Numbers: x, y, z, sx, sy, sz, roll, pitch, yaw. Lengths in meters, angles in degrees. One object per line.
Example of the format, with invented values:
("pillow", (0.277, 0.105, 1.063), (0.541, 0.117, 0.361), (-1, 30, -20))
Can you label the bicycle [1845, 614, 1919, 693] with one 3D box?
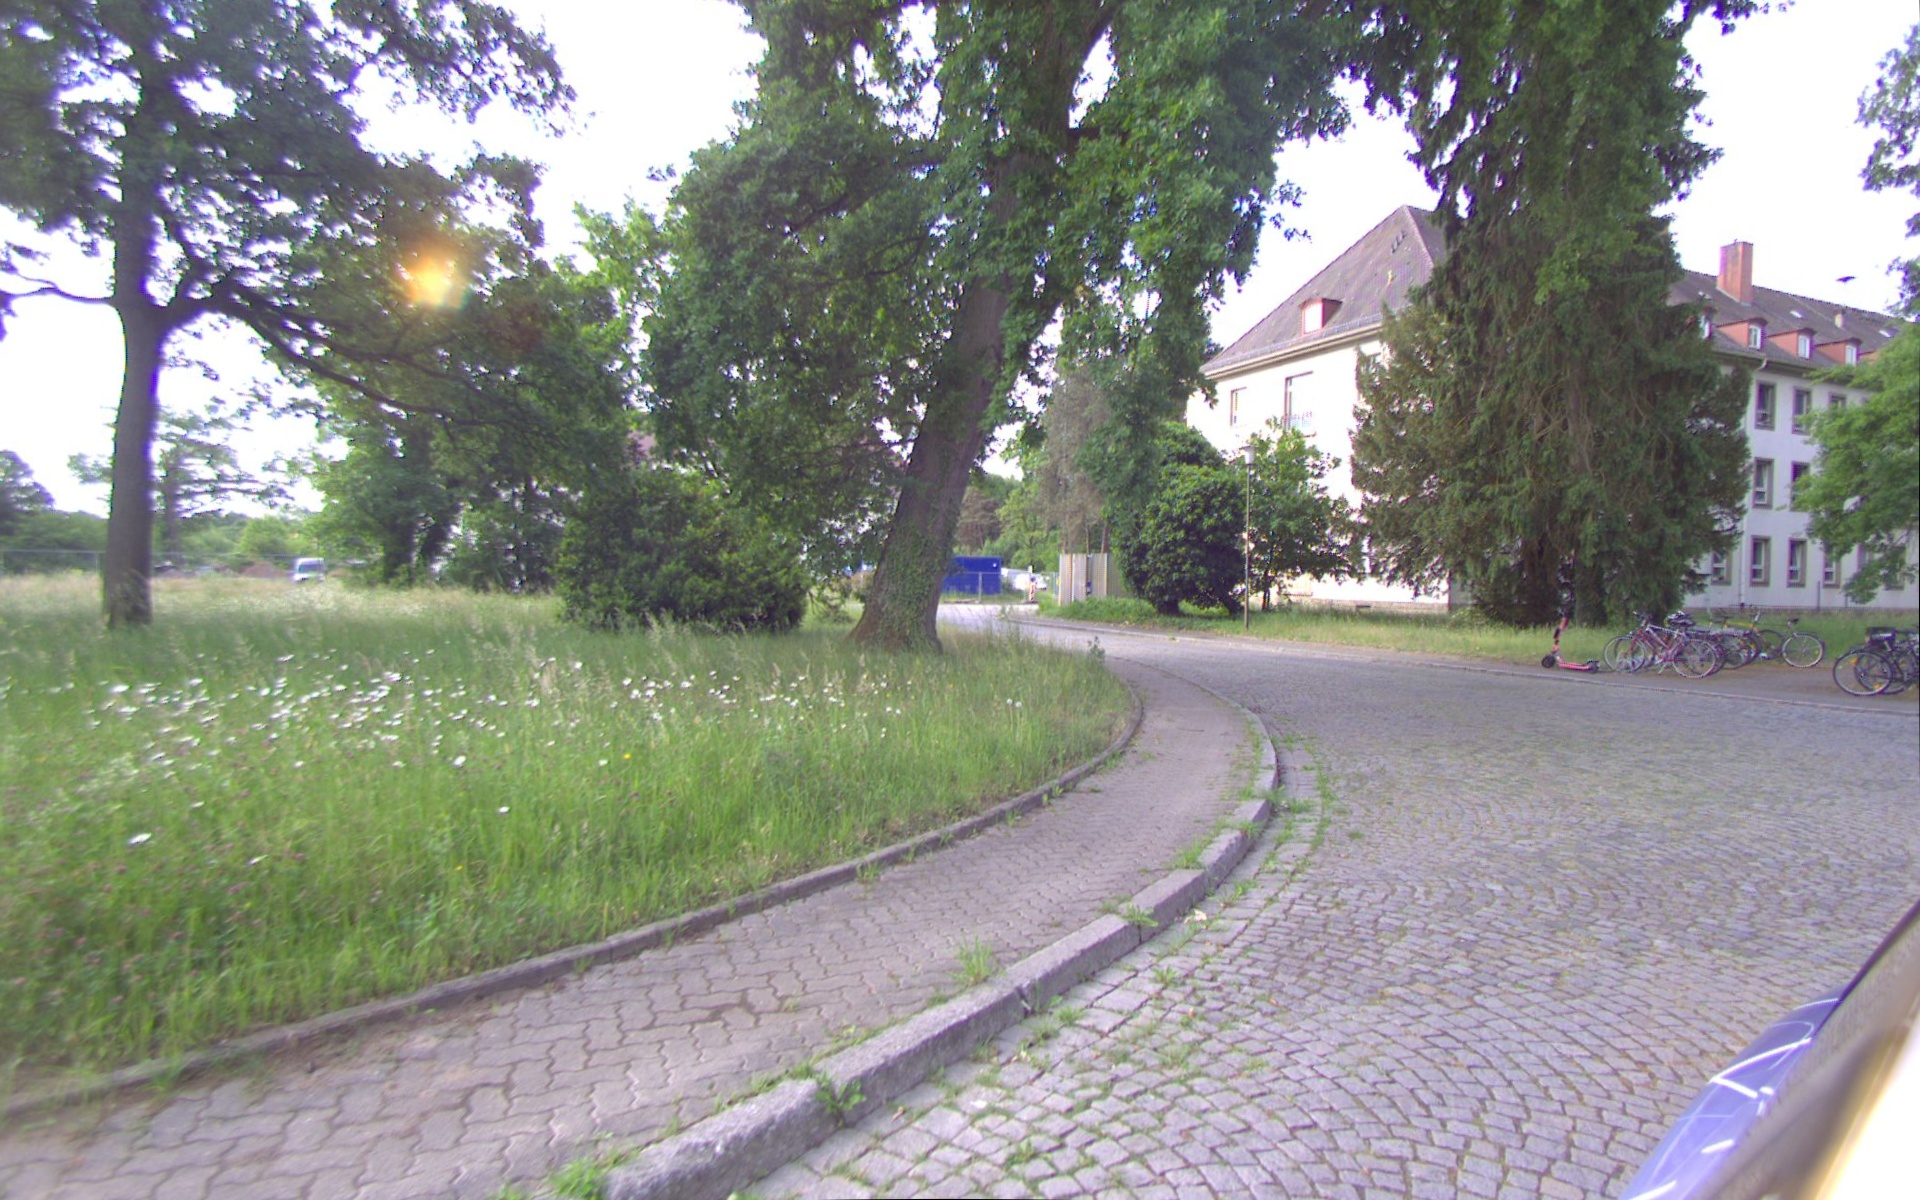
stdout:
("bicycle", (14.375, 0.808, 14.873), (0.471, 1.101, 2.013), (-3, 4, -44))

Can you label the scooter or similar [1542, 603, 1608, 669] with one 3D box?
("scooter or similar", (11.854, 0.677, 19.534), (0.377, 1.209, 1.066), (1, 1, -20))

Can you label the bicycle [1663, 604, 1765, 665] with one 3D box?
("bicycle", (14.812, 0.654, 19.920), (1.557, 1.101, 0.555), (2, 2, 37))

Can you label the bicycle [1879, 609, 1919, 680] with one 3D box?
("bicycle", (16.125, 0.750, 16.233), (0.471, 1.101, 2.013), (-3, 4, -44))

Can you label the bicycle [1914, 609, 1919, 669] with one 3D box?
("bicycle", (18.719, 0.761, 18.514), (0.544, 1.101, 1.803), (-3, 4, -44))

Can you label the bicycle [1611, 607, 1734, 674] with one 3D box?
("bicycle", (13.079, 0.718, 18.612), (1.805, 1.101, 0.472), (2, 4, 40))

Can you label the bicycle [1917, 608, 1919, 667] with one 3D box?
("bicycle", (19.259, 0.754, 19.061), (0.544, 1.101, 1.747), (-3, 4, -44))

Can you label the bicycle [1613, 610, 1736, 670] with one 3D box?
("bicycle", (13.419, 0.731, 19.045), (1.848, 1.002, 0.450), (2, 2, 40))

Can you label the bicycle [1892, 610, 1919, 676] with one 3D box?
("bicycle", (17.258, 0.774, 17.344), (0.511, 1.101, 1.861), (-3, 4, -44))

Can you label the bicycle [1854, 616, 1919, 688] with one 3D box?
("bicycle", (14.763, 0.811, 15.162), (0.471, 1.022, 2.013), (-3, 4, -44))

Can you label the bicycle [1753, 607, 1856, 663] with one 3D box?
("bicycle", (17.172, 0.693, 20.602), (1.561, 1.047, 0.469), (3, 2, 43))

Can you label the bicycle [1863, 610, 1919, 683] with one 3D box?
("bicycle", (15.578, 0.766, 15.923), (0.471, 1.101, 2.013), (-3, 4, -44))

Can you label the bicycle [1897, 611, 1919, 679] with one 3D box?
("bicycle", (16.743, 0.785, 16.749), (0.471, 1.101, 1.784), (-3, 4, -44))
